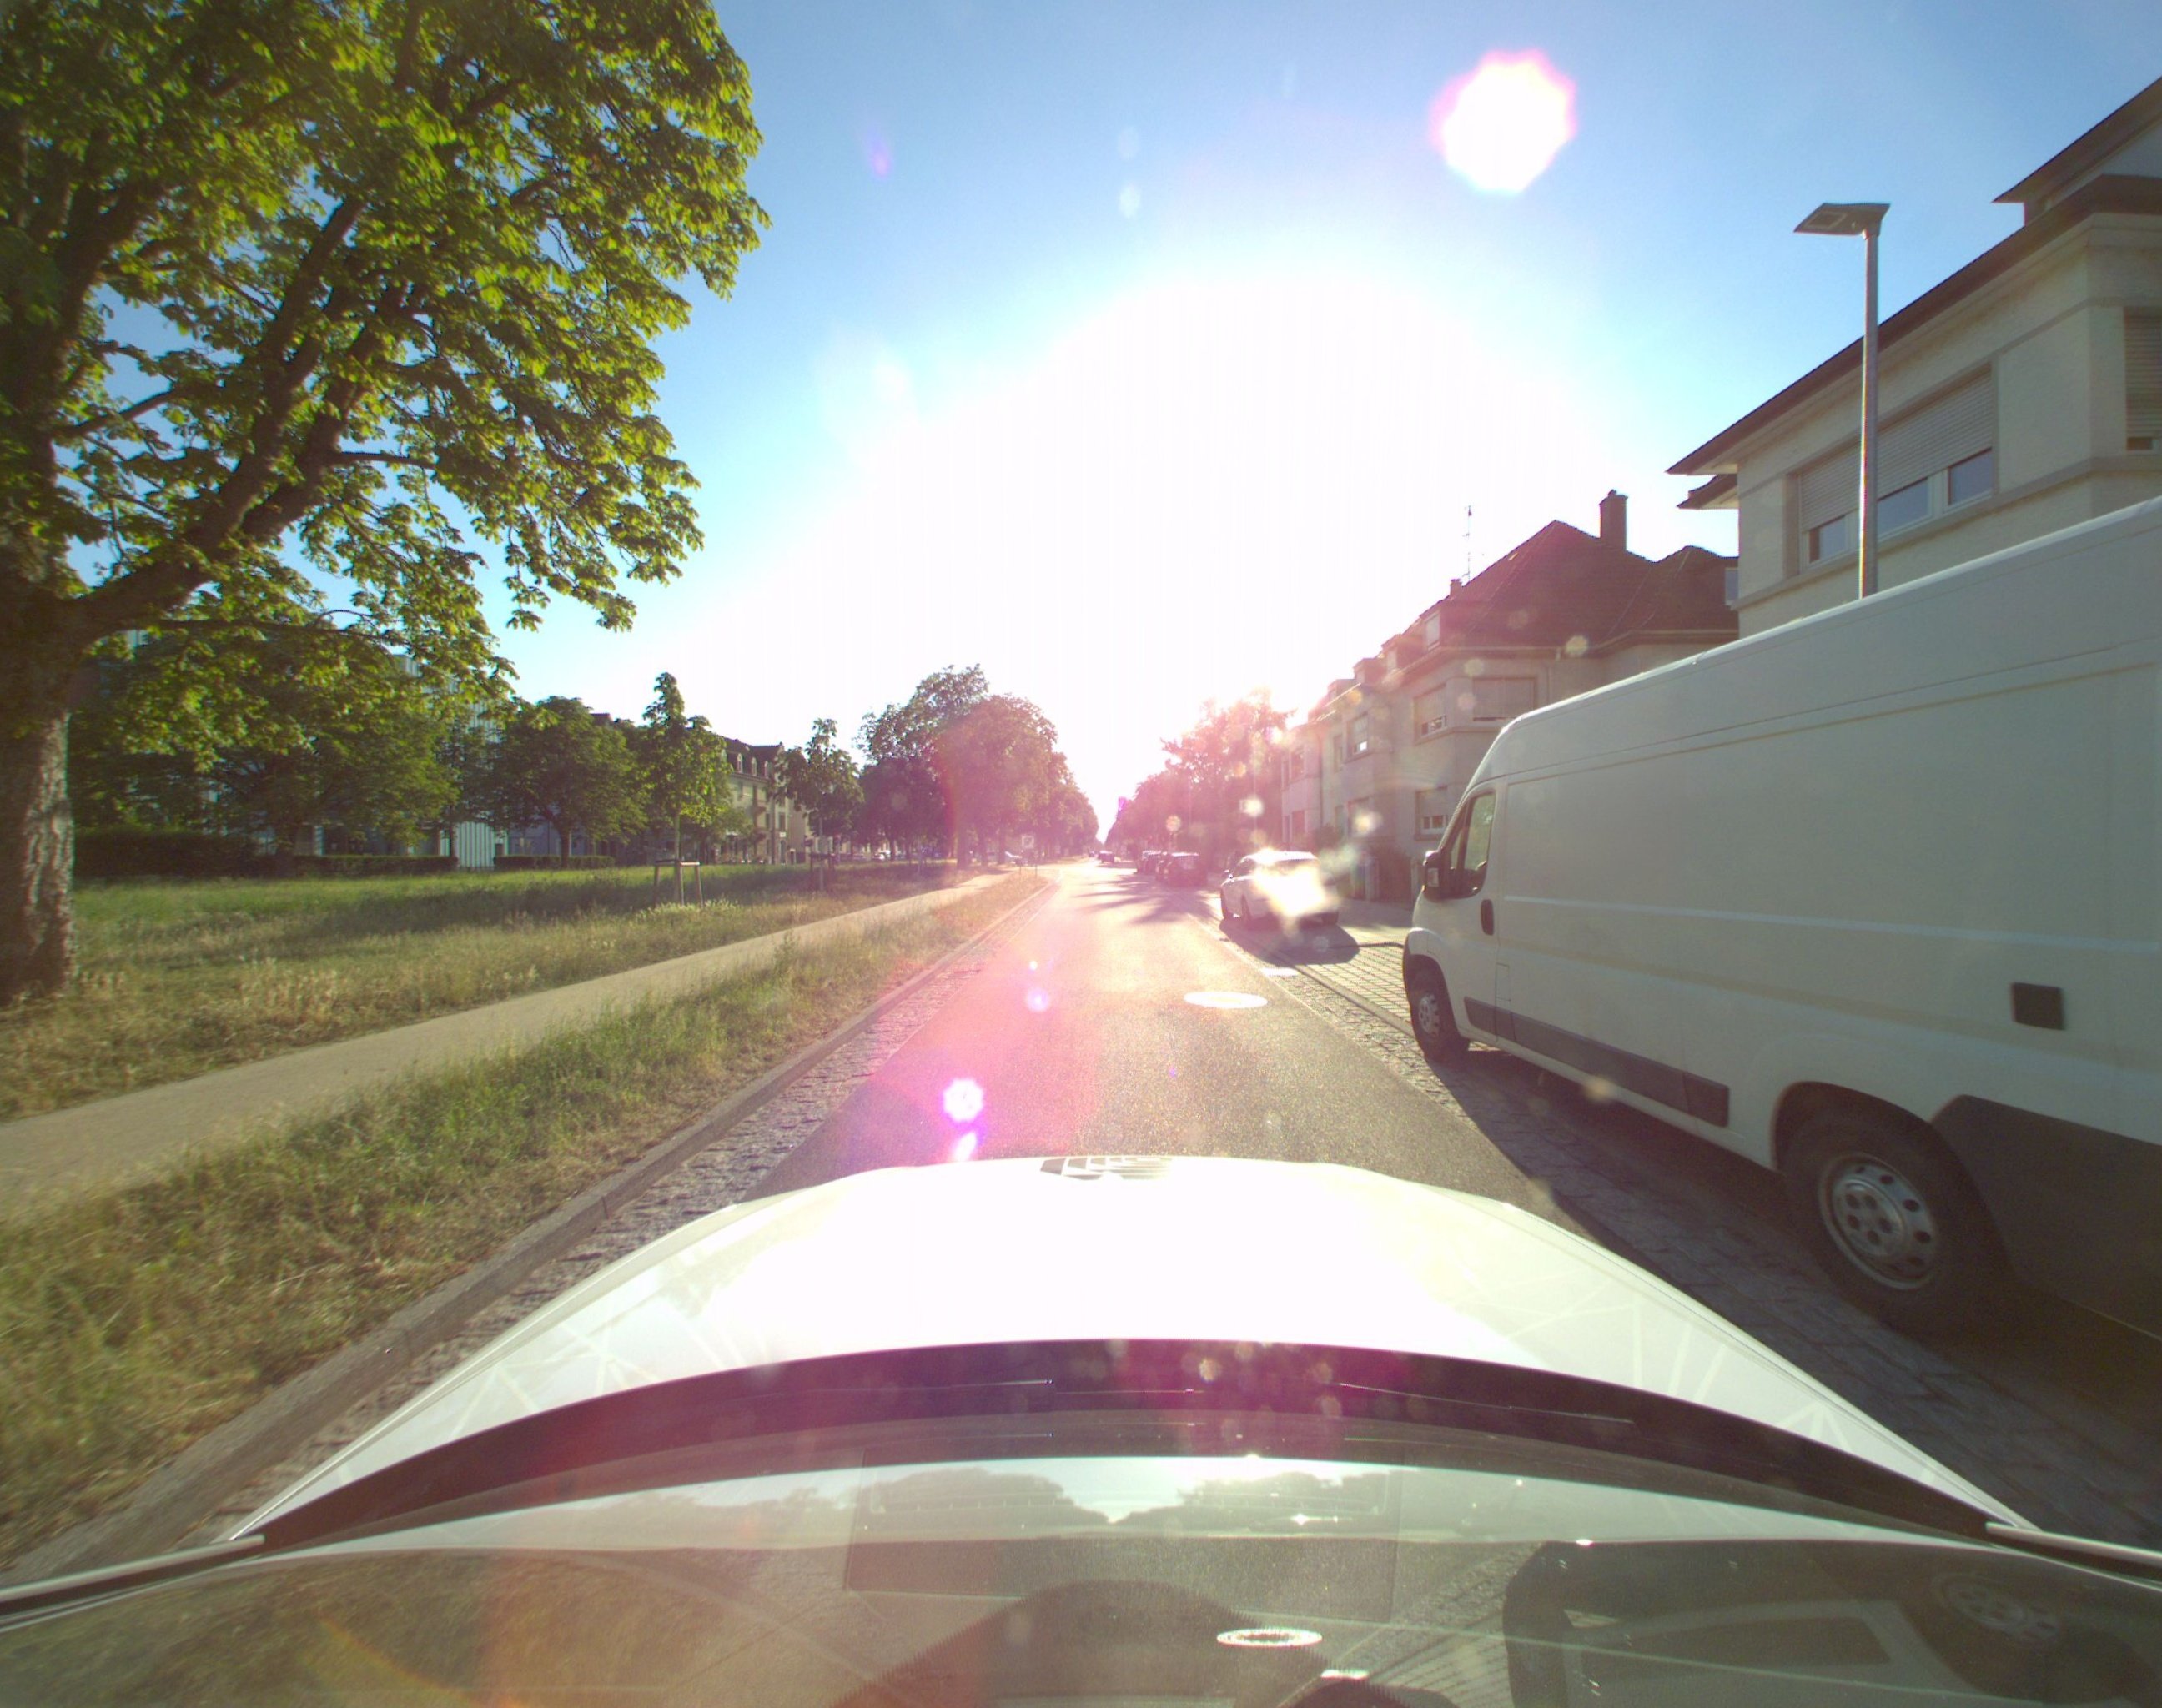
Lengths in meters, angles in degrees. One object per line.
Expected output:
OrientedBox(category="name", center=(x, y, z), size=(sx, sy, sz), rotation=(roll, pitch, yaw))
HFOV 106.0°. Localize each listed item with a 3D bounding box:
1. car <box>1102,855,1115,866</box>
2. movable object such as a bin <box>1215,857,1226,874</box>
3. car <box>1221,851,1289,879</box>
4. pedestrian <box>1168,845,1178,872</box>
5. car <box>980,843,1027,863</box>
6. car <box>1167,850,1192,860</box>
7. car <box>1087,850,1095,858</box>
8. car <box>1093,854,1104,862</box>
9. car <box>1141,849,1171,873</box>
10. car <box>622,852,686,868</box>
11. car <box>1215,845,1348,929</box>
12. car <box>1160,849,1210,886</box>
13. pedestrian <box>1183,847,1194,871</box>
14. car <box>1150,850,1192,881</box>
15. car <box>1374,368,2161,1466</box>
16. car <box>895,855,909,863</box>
OrientedBox(category="car", center=(3.666, 0.843, 109.926), size=(1.634, 1.451, 3.310), rotation=(0, 0, 4))
OrientedBox(category="movable object such as a bin", center=(8.515, 0.681, 49.693), size=(0.506, 1.043, 0.658), rotation=(0, 0, -4))
OrientedBox(category="car", center=(10.126, 0.614, 47.554), size=(3.621, 1.496, 1.781), rotation=(-2, 0, 1))
OrientedBox(category="pedestrian", center=(6.569, 0.321, 58.150), size=(0.668, 1.865, 0.882), rotation=(0, 0, 0))
OrientedBox(category="car", center=(-7.423, -0.073, 78.026), size=(4.405, 1.676, 1.893), rotation=(2, 0, -6))
OrientedBox(category="car", center=(15.847, 0.124, 131.035), size=(3.766, 1.525, 1.744), rotation=(0, 1, 1))
OrientedBox(category="car", center=(2.888, 0.028, 230.054), size=(2.126, 2.013, 3.904), rotation=(1, 0, 2))
OrientedBox(category="car", center=(3.144, 0.740, 144.251), size=(1.838, 1.394, 3.831), rotation=(1, 0, 2))
OrientedBox(category="car", center=(4.867, 0.460, 52.918), size=(1.635, 1.427, 3.937), rotation=(-2, 0, 1))
OrientedBox(category="car", center=(-38.668, 0.562, 73.780), size=(4.760, 1.434, 1.810), rotation=(1, -1, -7))
OrientedBox(category="car", center=(4.074, 0.606, 17.242), size=(1.776, 1.507, 4.234), rotation=(-2, 0, 1))
OrientedBox(category="car", center=(4.577, 0.570, 36.398), size=(1.712, 1.471, 3.984), rotation=(-2, 0, 1))
OrientedBox(category="pedestrian", center=(7.664, 0.339, 58.131), size=(0.667, 1.708, 0.622), rotation=(0, 0, -3))
OrientedBox(category="car", center=(4.554, 0.552, 41.828), size=(1.740, 1.474, 4.255), rotation=(0, 0, 1))
OrientedBox(category="car", center=(3.577, 0.140, 4.324), size=(2.122, 2.518, 5.509), rotation=(0, 0, 1))
OrientedBox(category="car", center=(-32.803, 0.865, 149.315), size=(1.731, 1.427, 3.795), rotation=(0, 1, 2))
